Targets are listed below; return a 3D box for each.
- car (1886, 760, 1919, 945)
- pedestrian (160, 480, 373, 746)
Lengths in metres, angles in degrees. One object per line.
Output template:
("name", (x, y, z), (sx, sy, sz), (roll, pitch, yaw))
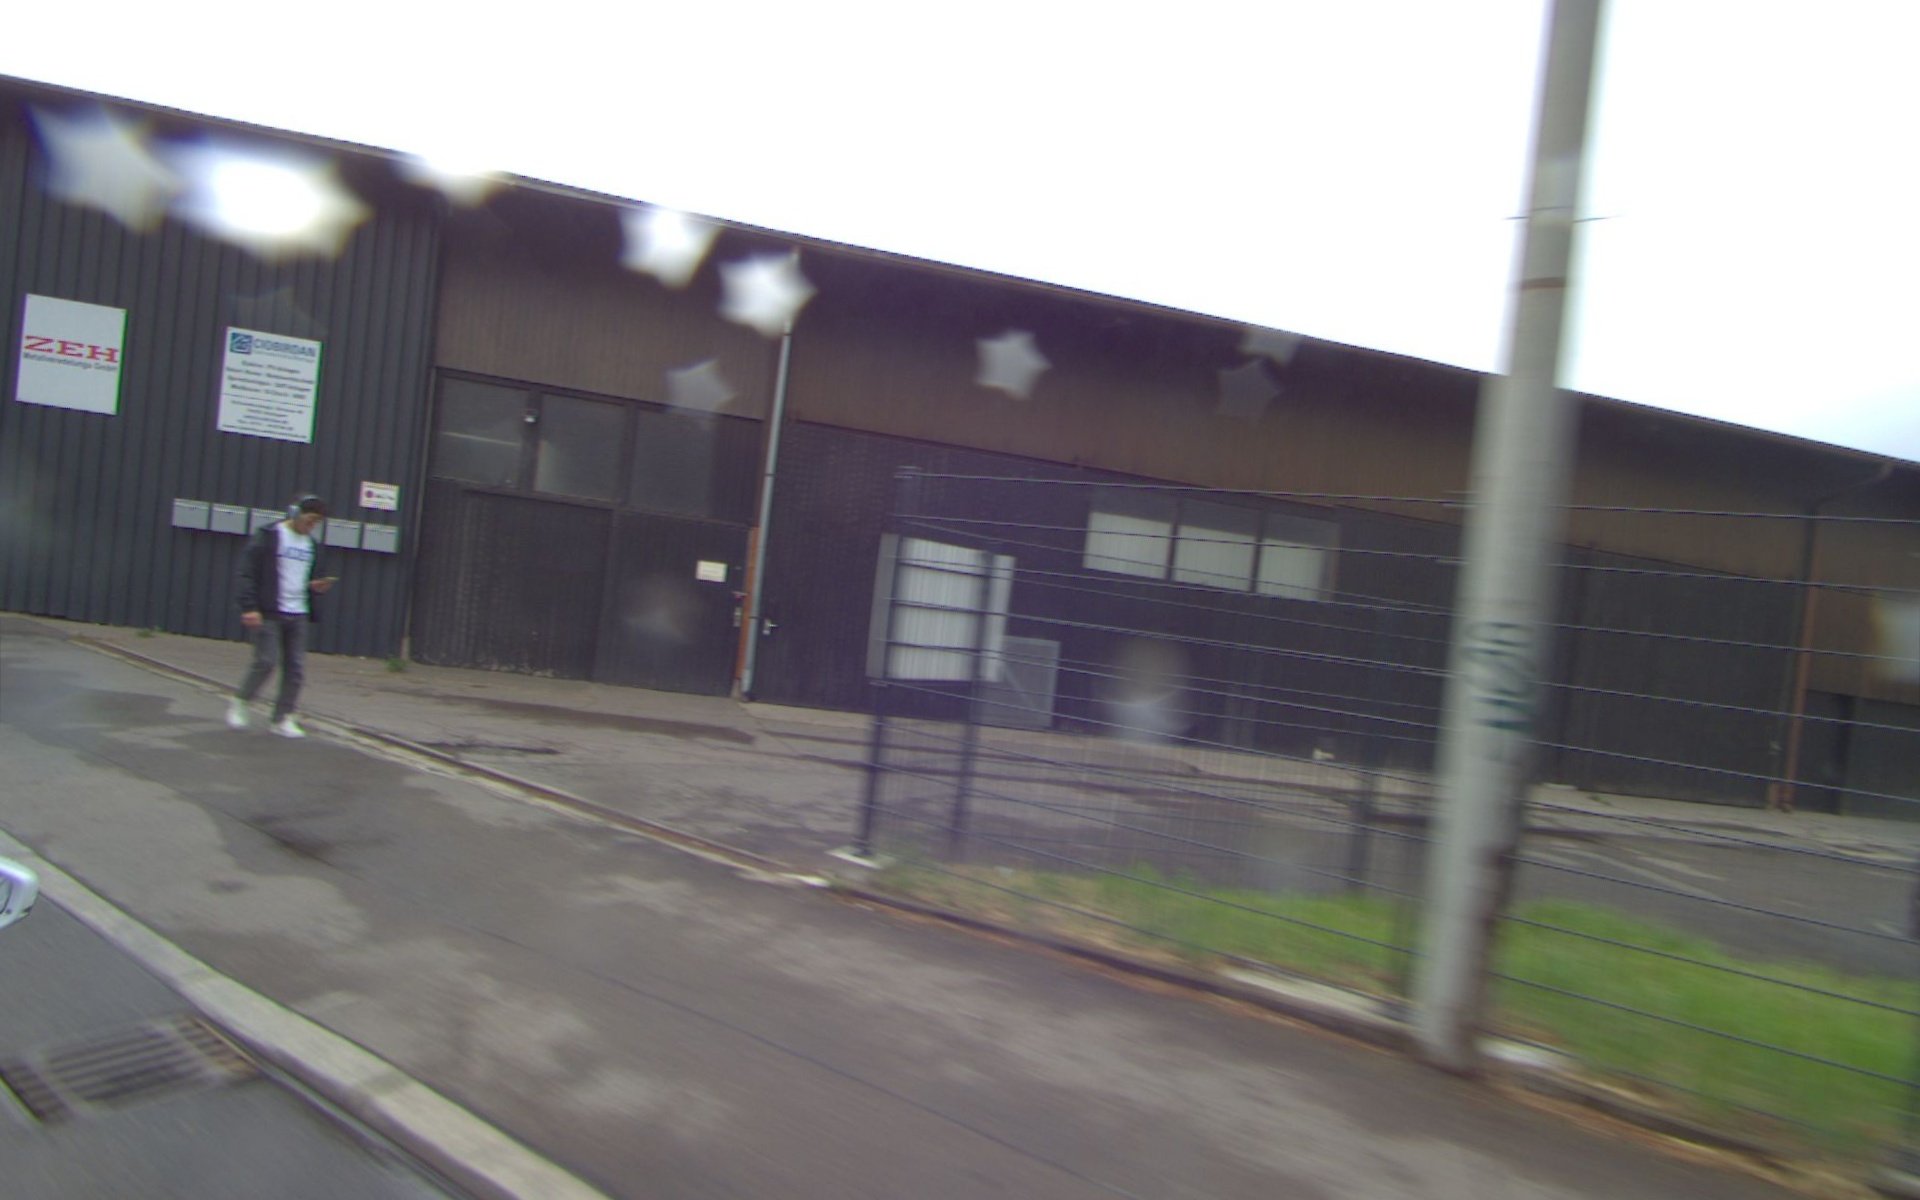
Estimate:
("car", (7.954, 1.995, 6.736), (1.756, 1.439, 3.994), (5, -3, 32))
("pedestrian", (-4.912, 0.094, 7.146), (0.886, 1.724, 0.744), (6, -1, 26))
